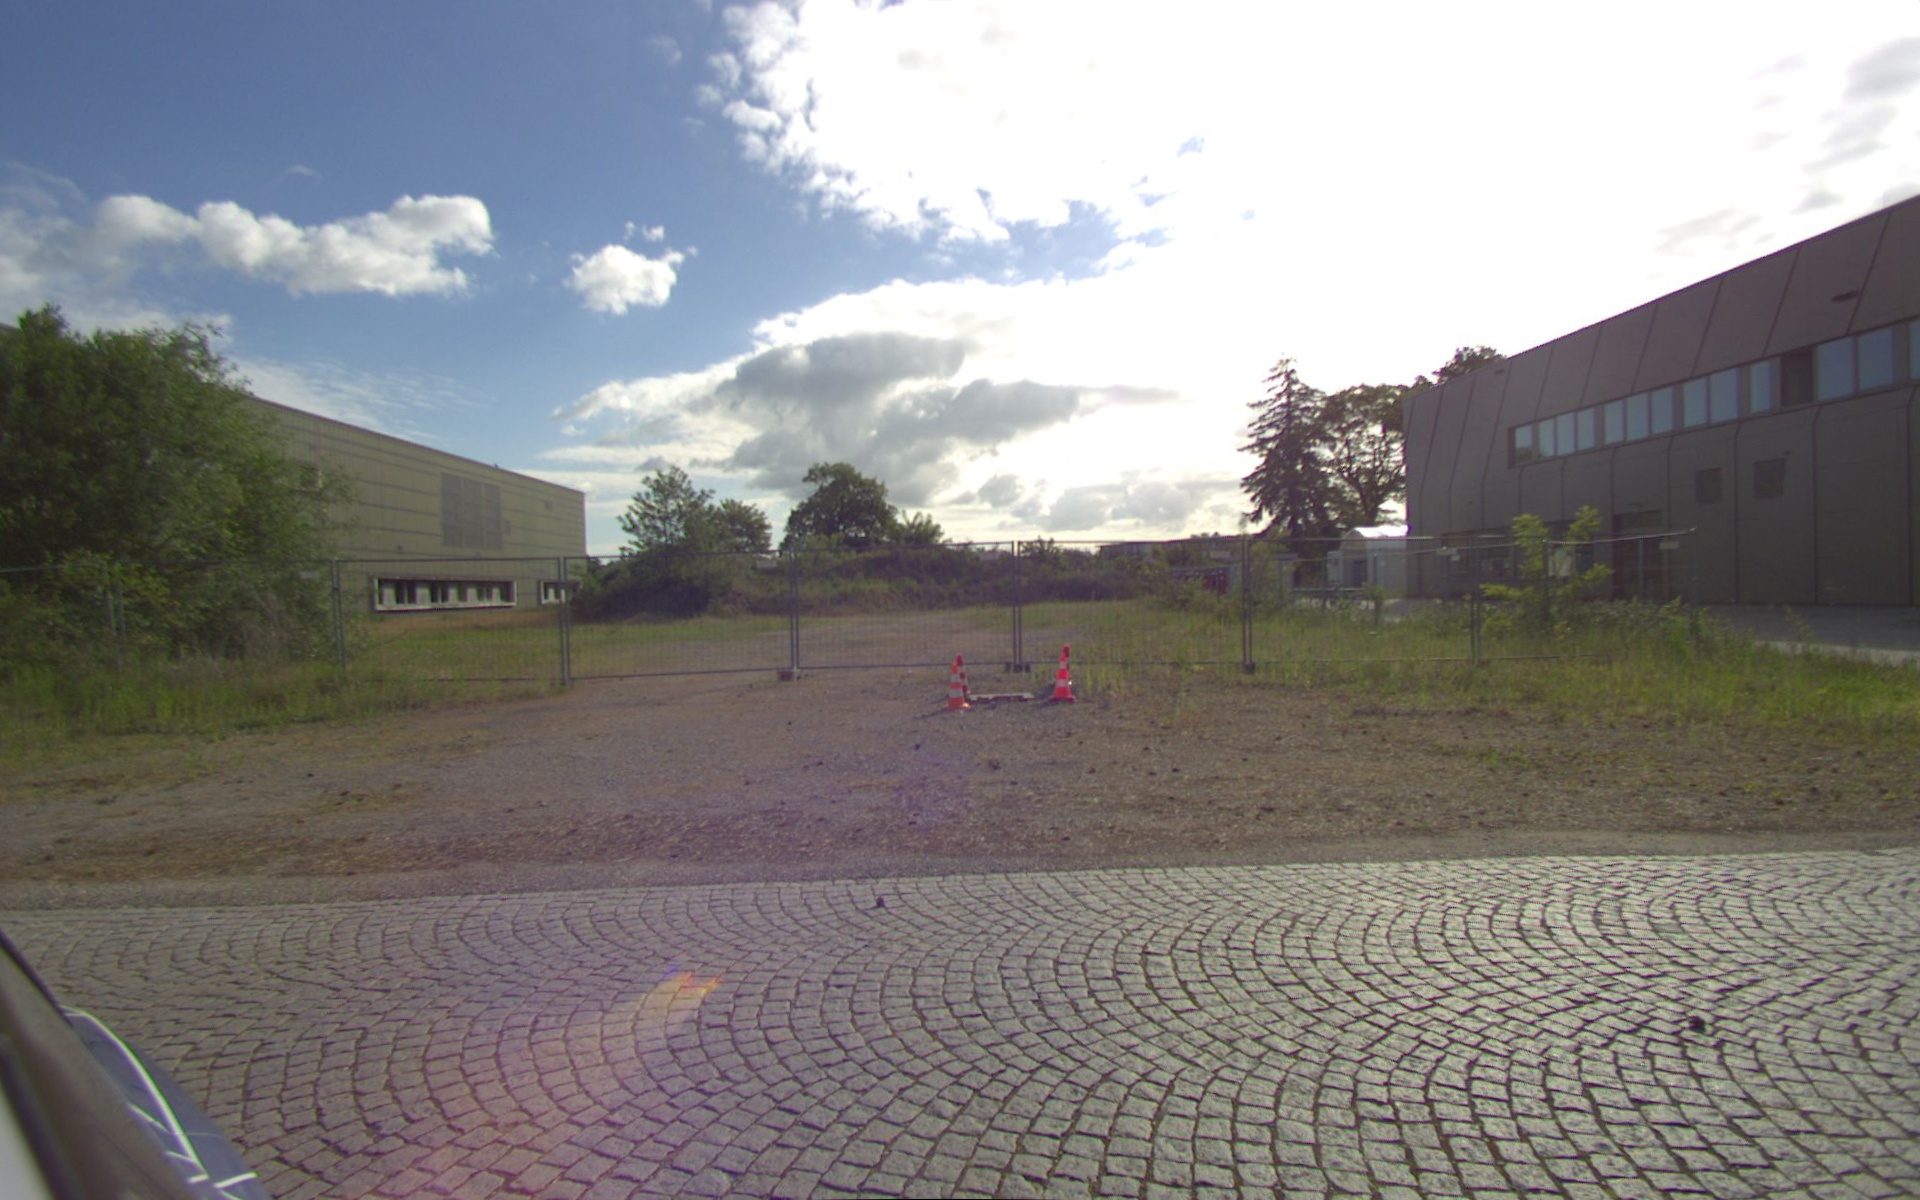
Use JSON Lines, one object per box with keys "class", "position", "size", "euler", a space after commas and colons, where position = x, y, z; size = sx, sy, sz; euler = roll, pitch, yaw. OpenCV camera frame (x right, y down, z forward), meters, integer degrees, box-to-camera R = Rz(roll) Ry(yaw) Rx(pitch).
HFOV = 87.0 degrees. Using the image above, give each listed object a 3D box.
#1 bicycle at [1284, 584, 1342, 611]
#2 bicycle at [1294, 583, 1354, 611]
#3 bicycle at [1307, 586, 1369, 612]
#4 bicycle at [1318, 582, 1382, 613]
{"class": "bicycle", "position": [14.697, -0.093, 42.211], "size": [2.038, 1.052, 0.947], "euler": [-2, 0, -3]}
{"class": "bicycle", "position": [14.765, -0.107, 41.092], "size": [2.038, 1.052, 0.947], "euler": [-2, 0, -3]}
{"class": "bicycle", "position": [14.968, -0.039, 40.090], "size": [2.038, 0.928, 0.947], "euler": [-2, 0, -3]}
{"class": "bicycle", "position": [14.967, -0.110, 38.835], "size": [2.038, 1.095, 0.947], "euler": [-2, 0, -3]}
